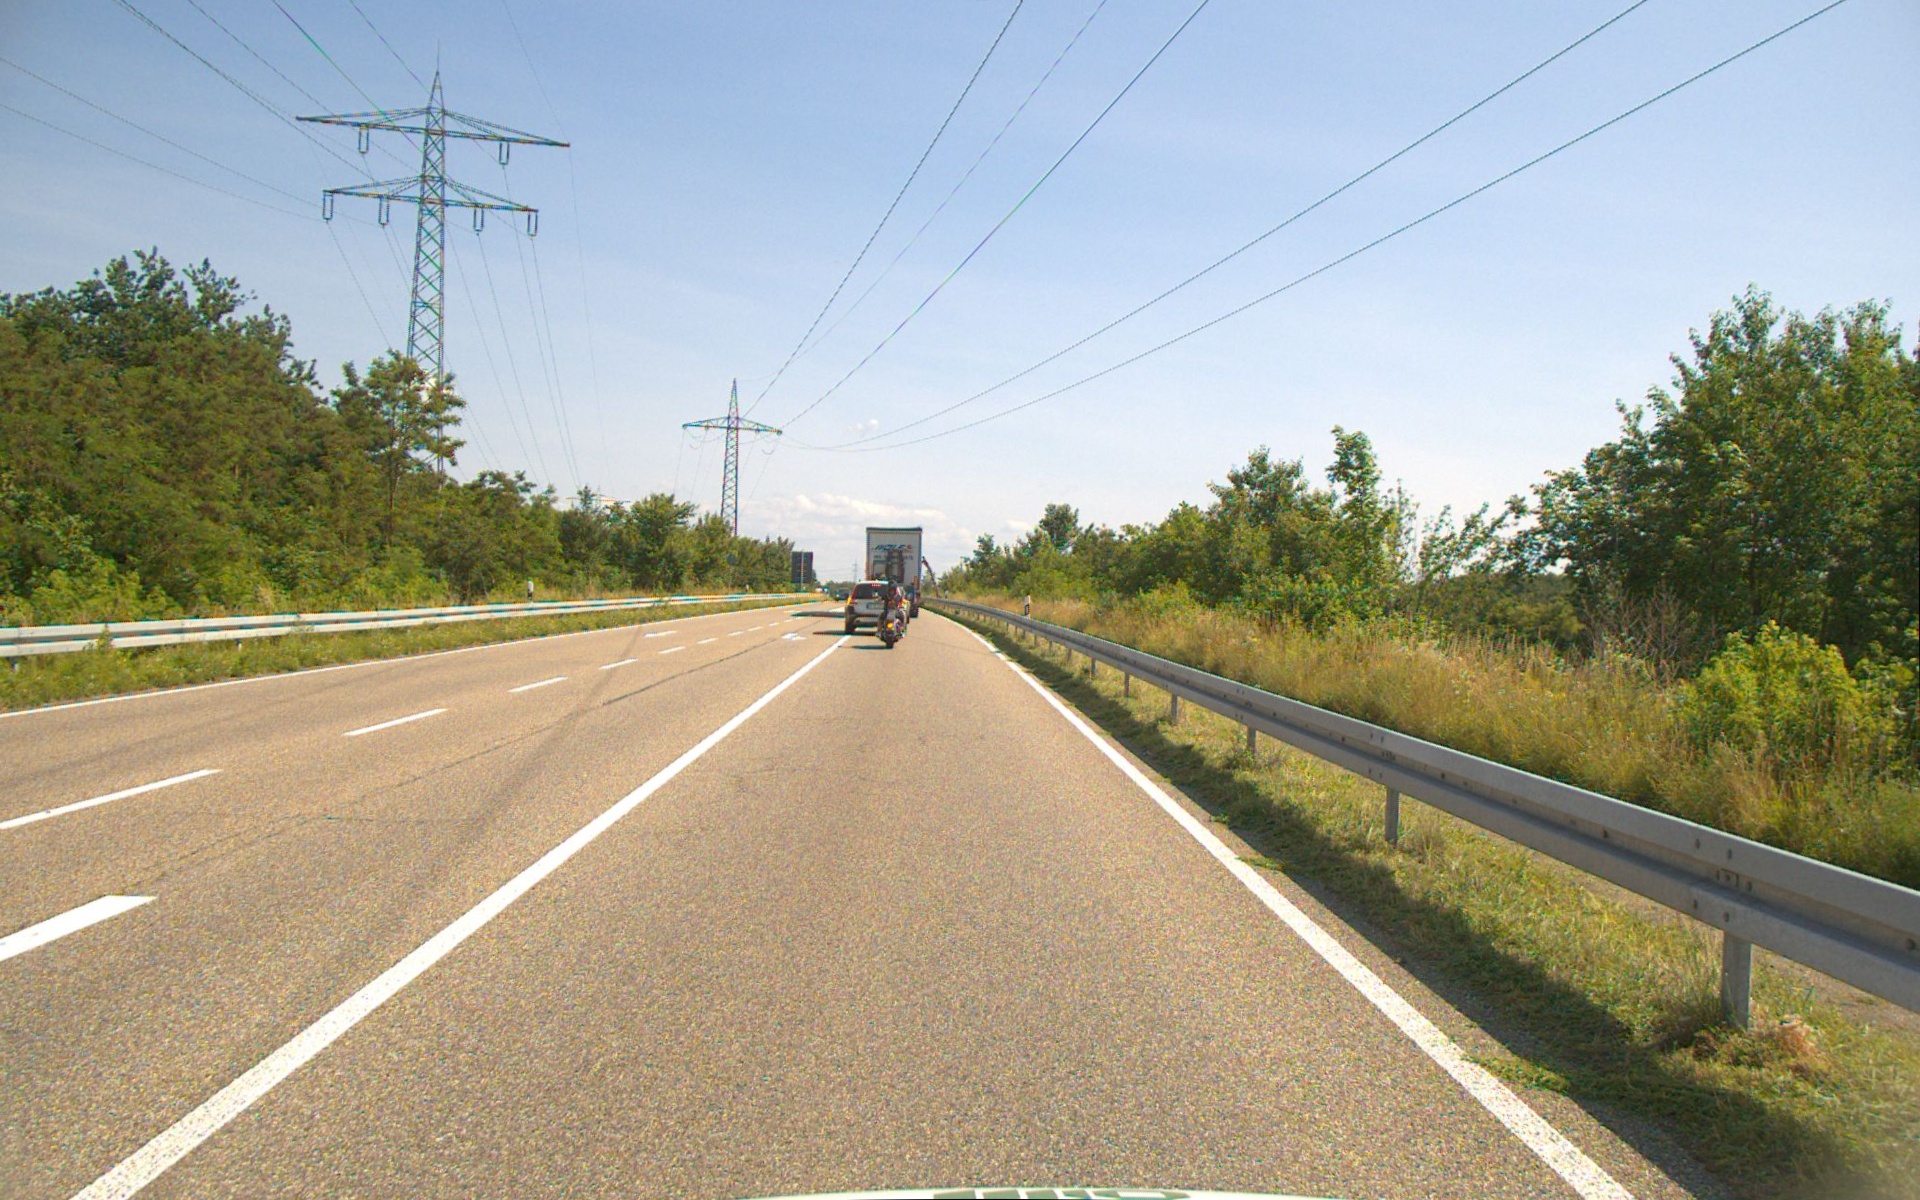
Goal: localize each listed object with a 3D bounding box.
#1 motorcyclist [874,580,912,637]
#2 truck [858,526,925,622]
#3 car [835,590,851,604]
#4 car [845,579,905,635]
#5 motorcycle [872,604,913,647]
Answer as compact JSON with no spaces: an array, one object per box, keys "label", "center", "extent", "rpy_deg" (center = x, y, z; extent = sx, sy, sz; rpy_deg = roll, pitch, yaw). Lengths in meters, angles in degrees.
[{"label":"motorcyclist","center":[-1.580,0.200,38.736],"extent":[0.821,1.303,0.918],"rpy_deg":[1,0,-5]},{"label":"truck","center":[-3.316,-1.236,82.115],"extent":[2.908,4.260,14.816],"rpy_deg":[1,0,-2]},{"label":"car","center":[-13.061,-0.359,184.691],"extent":[1.693,1.517,4.420],"rpy_deg":[1,0,-3]},{"label":"car","center":[-2.499,0.184,48.946],"extent":[1.667,1.563,3.497],"rpy_deg":[1,0,-3]},{"label":"motorcycle","center":[-1.588,0.578,38.680],"extent":[0.842,0.931,2.225],"rpy_deg":[2,0,-5]}]
